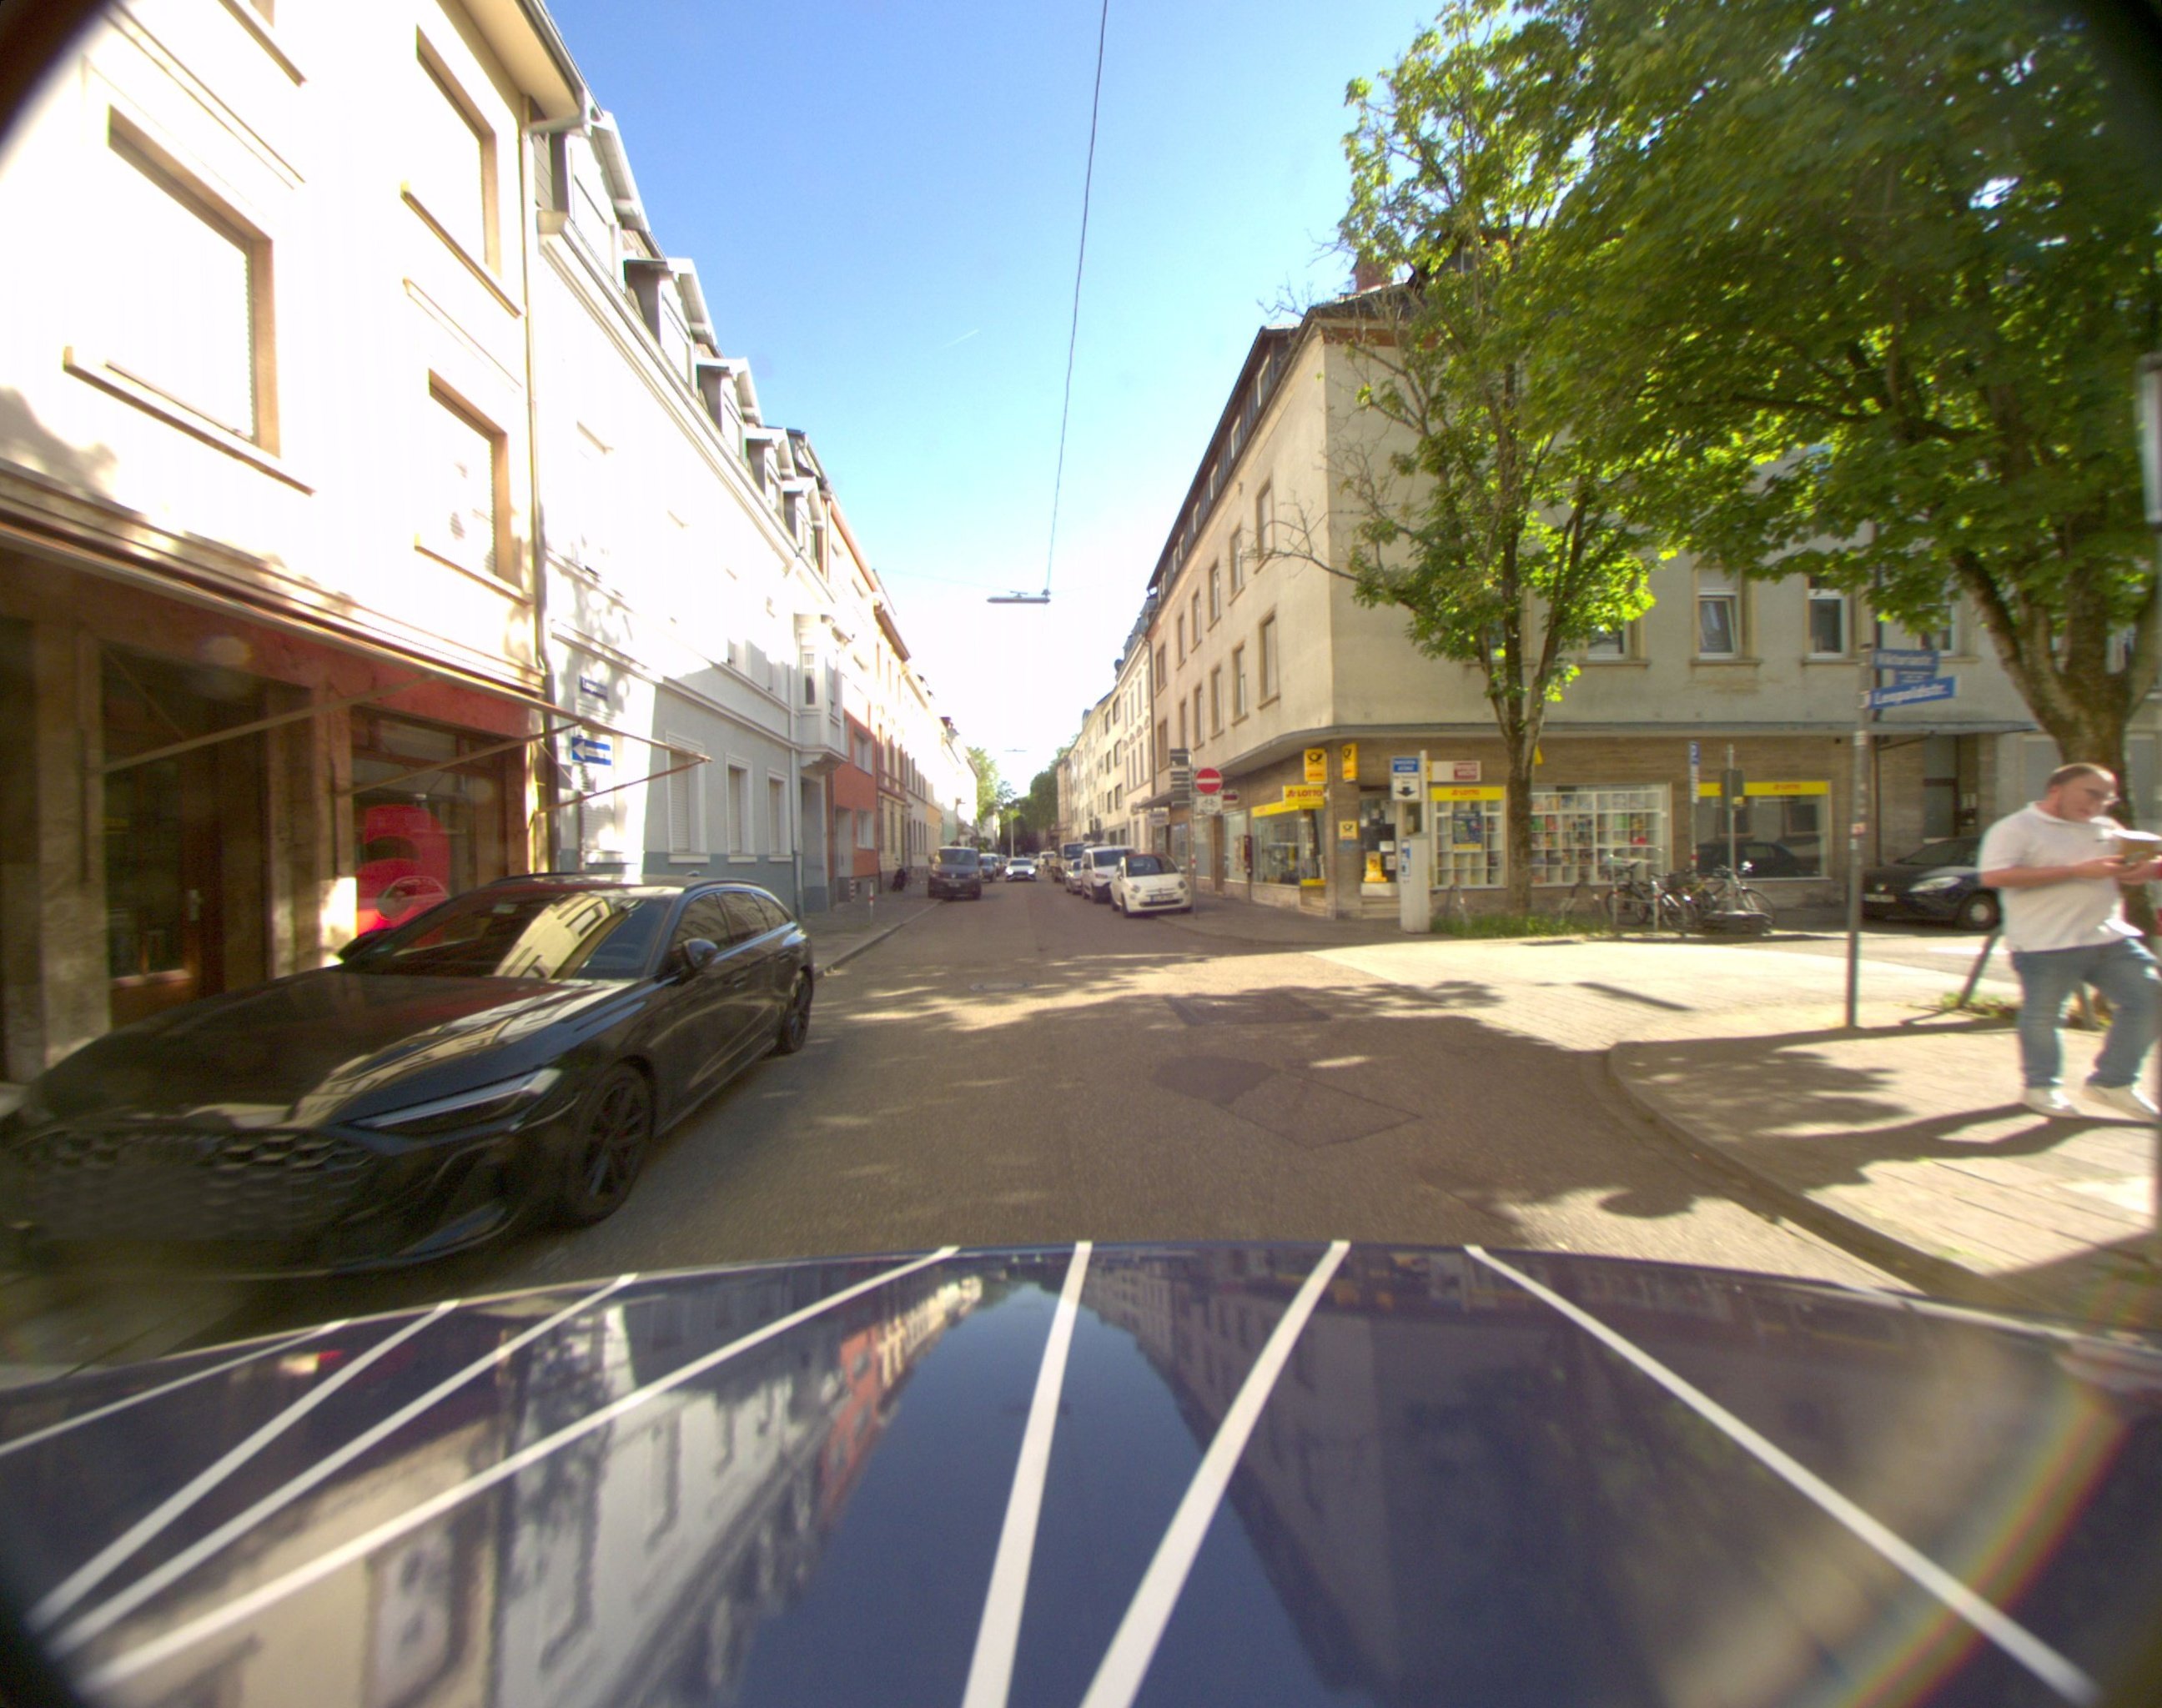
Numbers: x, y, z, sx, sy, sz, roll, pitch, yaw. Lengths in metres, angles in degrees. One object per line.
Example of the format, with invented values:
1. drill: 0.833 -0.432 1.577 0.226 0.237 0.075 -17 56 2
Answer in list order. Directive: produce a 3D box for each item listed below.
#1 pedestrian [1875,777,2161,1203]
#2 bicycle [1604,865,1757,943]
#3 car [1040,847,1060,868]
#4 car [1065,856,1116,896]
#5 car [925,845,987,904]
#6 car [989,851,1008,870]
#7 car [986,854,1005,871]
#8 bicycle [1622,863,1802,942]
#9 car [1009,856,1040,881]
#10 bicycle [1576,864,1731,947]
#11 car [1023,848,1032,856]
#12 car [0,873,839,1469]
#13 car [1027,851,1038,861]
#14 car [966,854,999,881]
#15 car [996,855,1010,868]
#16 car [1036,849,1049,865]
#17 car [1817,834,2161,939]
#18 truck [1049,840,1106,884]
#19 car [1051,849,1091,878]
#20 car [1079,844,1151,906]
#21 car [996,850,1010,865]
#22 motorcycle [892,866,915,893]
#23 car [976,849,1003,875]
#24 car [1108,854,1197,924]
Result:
1. pedestrian: 5.035 0.583 3.723 0.913 1.821 1.245 -1 -1 -5
2. bicycle: 9.955 0.776 12.760 0.523 1.111 2.402 -1 1 -4
3. car: -3.274 0.355 80.650 1.914 2.076 4.694 -1 1 -4
4. car: 0.316 0.861 31.545 1.670 1.514 4.486 0 0 -5
5. car: -4.768 0.727 29.607 1.976 2.017 4.896 -3 1 -5
6. car: -8.147 0.649 75.221 1.605 1.772 3.758 -1 0 -4
7. car: -7.778 0.773 69.538 1.579 1.459 3.868 -1 -1 -4
8. bicycle: 10.547 0.759 12.868 0.709 1.121 2.427 -1 2 -12
9. car: -3.491 0.859 46.870 1.762 1.399 4.019 -1 1 -4
10. bicycle: 9.303 0.785 12.495 0.709 1.136 2.306 -1 1 -4
11. car: -11.845 -0.417 169.239 1.986 1.674 4.019 -1 1 -4
12. car: -3.048 1.020 4.725 1.806 1.570 4.894 -2 1 -4
13. car: -8.214 0.303 129.731 1.787 1.674 4.019 -1 1 -4
14. car: -6.082 0.809 47.224 1.745 1.534 4.049 -1 1 -4
15. car: -9.324 0.896 90.817 1.589 1.409 3.555 -1 1 -4
16. car: -5.120 0.418 100.254 1.586 1.971 4.066 -1 1 -4
17. car: 15.724 0.489 13.122 4.238 1.578 1.900 -1 2 -2
18. truck: -0.330 0.349 42.886 2.172 2.295 6.341 0 1 -10
19. car: -0.718 0.580 51.173 1.919 1.871 5.180 1 0 -9
20. car: 1.033 0.651 25.582 1.772 1.887 4.806 0 0 -6
21. car: -10.439 0.477 102.114 1.787 1.867 4.019 -1 1 -4
22. motorcycle: -7.555 1.060 32.443 0.638 1.038 2.362 -1 1 -6
23. car: -7.210 0.622 60.277 1.899 1.875 4.455 -1 1 -4
24. car: 1.724 0.797 19.404 1.672 1.551 3.720 -1 1 -4
